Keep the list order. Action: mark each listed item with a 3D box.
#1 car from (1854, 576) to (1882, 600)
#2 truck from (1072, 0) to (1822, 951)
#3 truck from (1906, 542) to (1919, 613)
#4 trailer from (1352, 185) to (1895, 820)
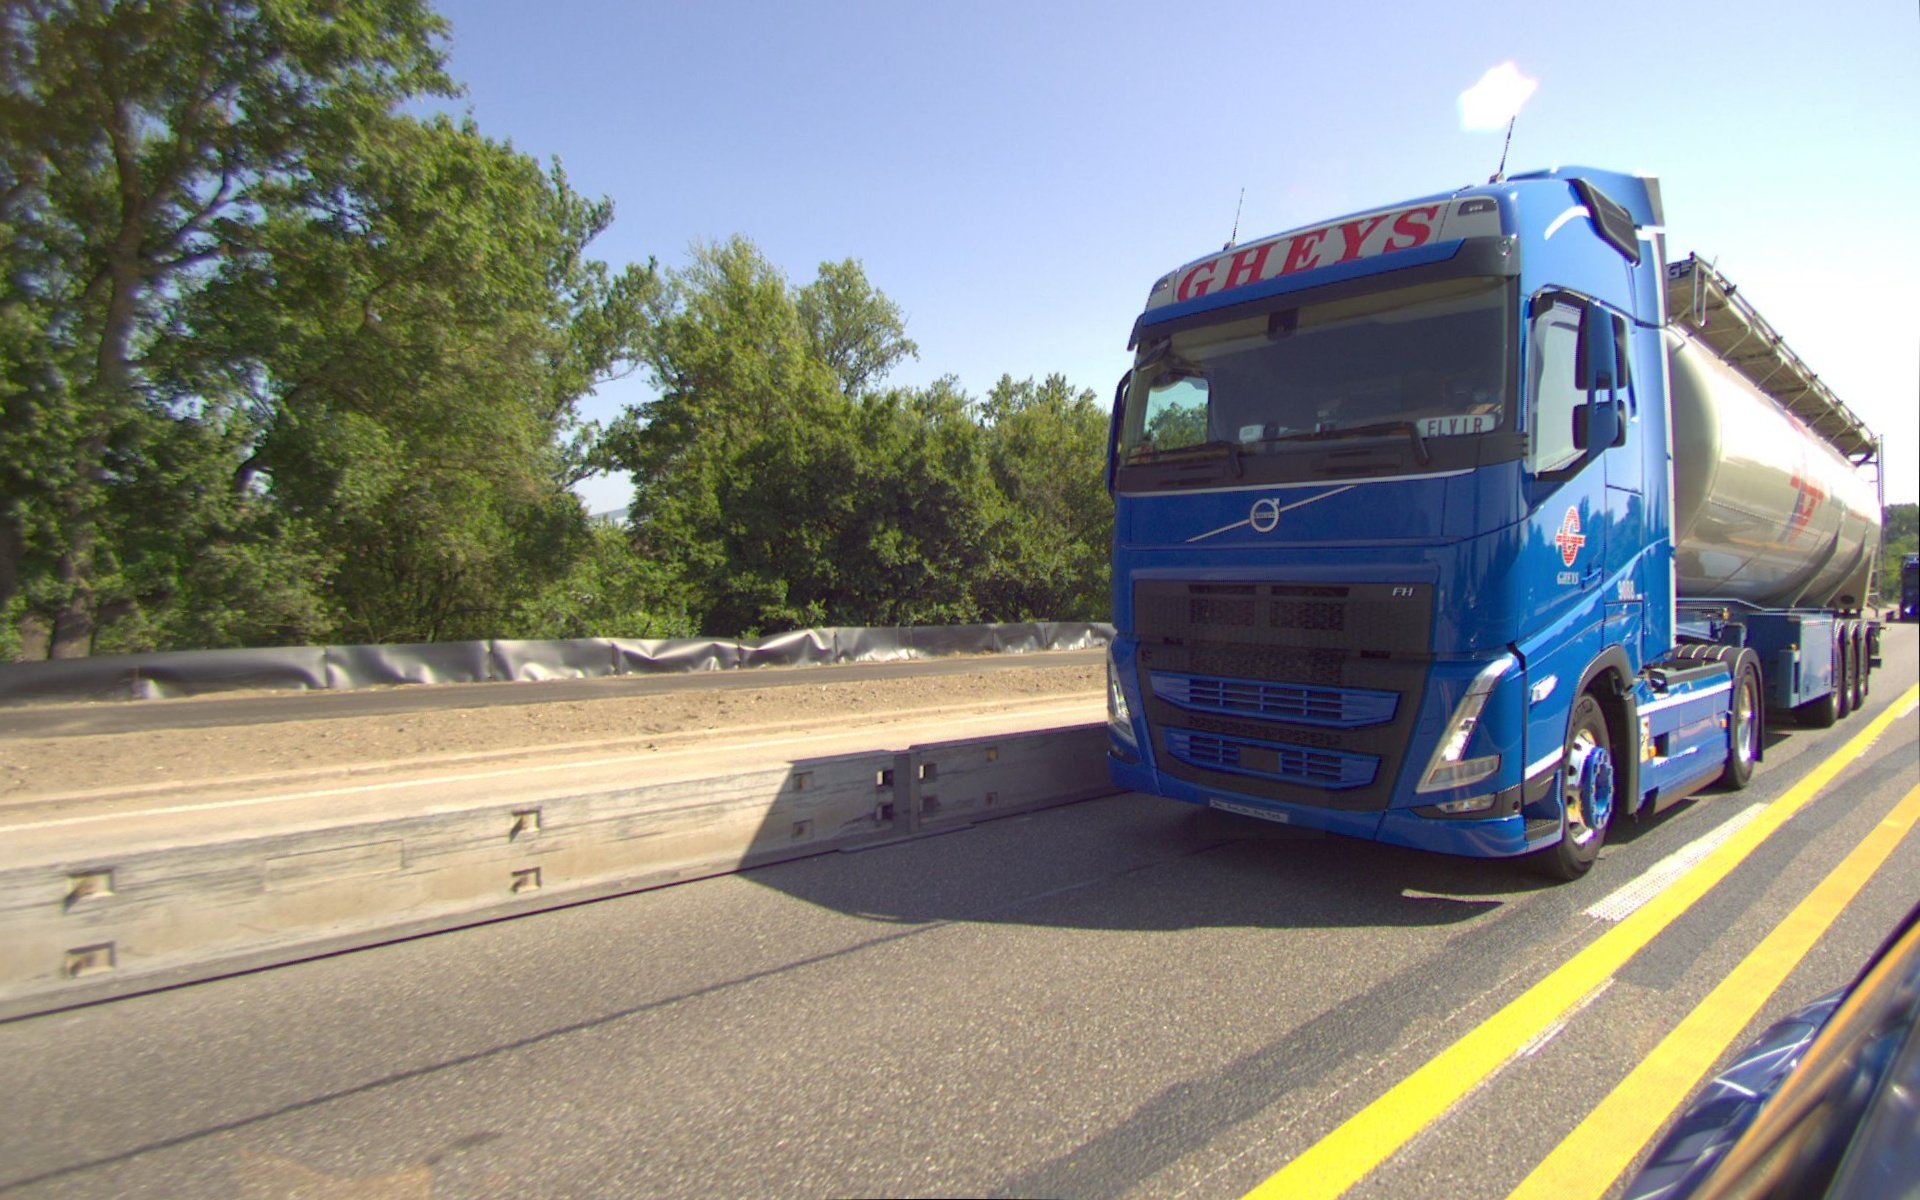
[{"bbox_3d":[107.005,-1.485,119.334,2.102,2.674,5.899,4,3,39],"label":"car"},{"bbox_3d":[4.212,-0.680,7.619,7.178,4.154,2.697,0,1,-43],"label":"truck"},{"bbox_3d":[58.176,-1.241,59.781,8.524,4.033,2.857,0,3,-45],"label":"truck"},{"bbox_3d":[8.758,-0.722,11.998,12.406,4.188,2.696,-1,2,-44],"label":"trailer"}]
